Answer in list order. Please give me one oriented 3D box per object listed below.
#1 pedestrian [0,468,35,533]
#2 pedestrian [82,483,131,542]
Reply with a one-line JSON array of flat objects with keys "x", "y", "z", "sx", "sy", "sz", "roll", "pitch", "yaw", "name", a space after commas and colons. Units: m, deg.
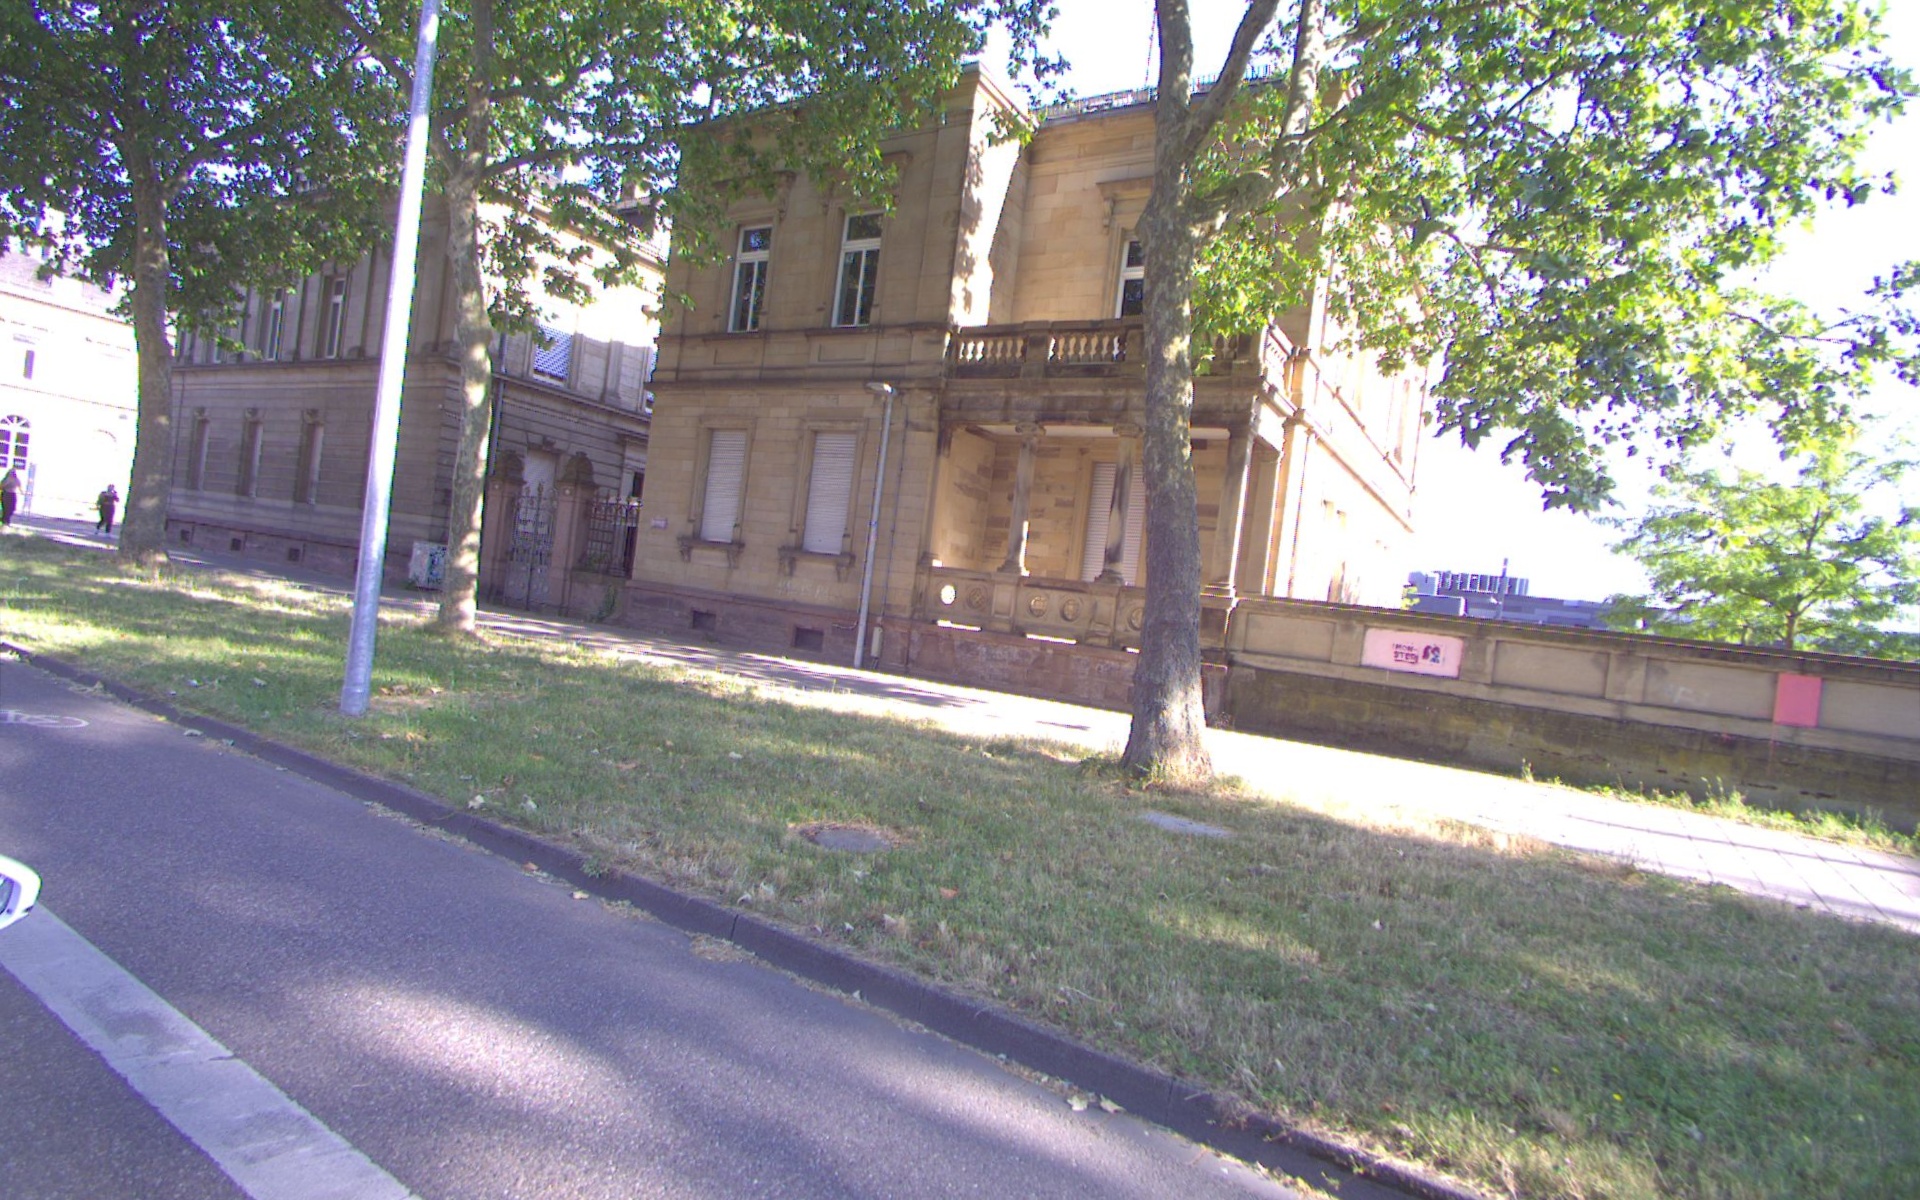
[{"x": -27.170, "y": -2.845, "z": 28.729, "sx": 1.025, "sy": 1.731, "sz": 0.770, "roll": 7, "pitch": 1, "yaw": 33, "name": "pedestrian"}, {"x": -25.785, "y": -2.636, "z": 30.399, "sx": 0.970, "sy": 1.626, "sz": 0.770, "roll": 7, "pitch": 1, "yaw": 33, "name": "pedestrian"}]
